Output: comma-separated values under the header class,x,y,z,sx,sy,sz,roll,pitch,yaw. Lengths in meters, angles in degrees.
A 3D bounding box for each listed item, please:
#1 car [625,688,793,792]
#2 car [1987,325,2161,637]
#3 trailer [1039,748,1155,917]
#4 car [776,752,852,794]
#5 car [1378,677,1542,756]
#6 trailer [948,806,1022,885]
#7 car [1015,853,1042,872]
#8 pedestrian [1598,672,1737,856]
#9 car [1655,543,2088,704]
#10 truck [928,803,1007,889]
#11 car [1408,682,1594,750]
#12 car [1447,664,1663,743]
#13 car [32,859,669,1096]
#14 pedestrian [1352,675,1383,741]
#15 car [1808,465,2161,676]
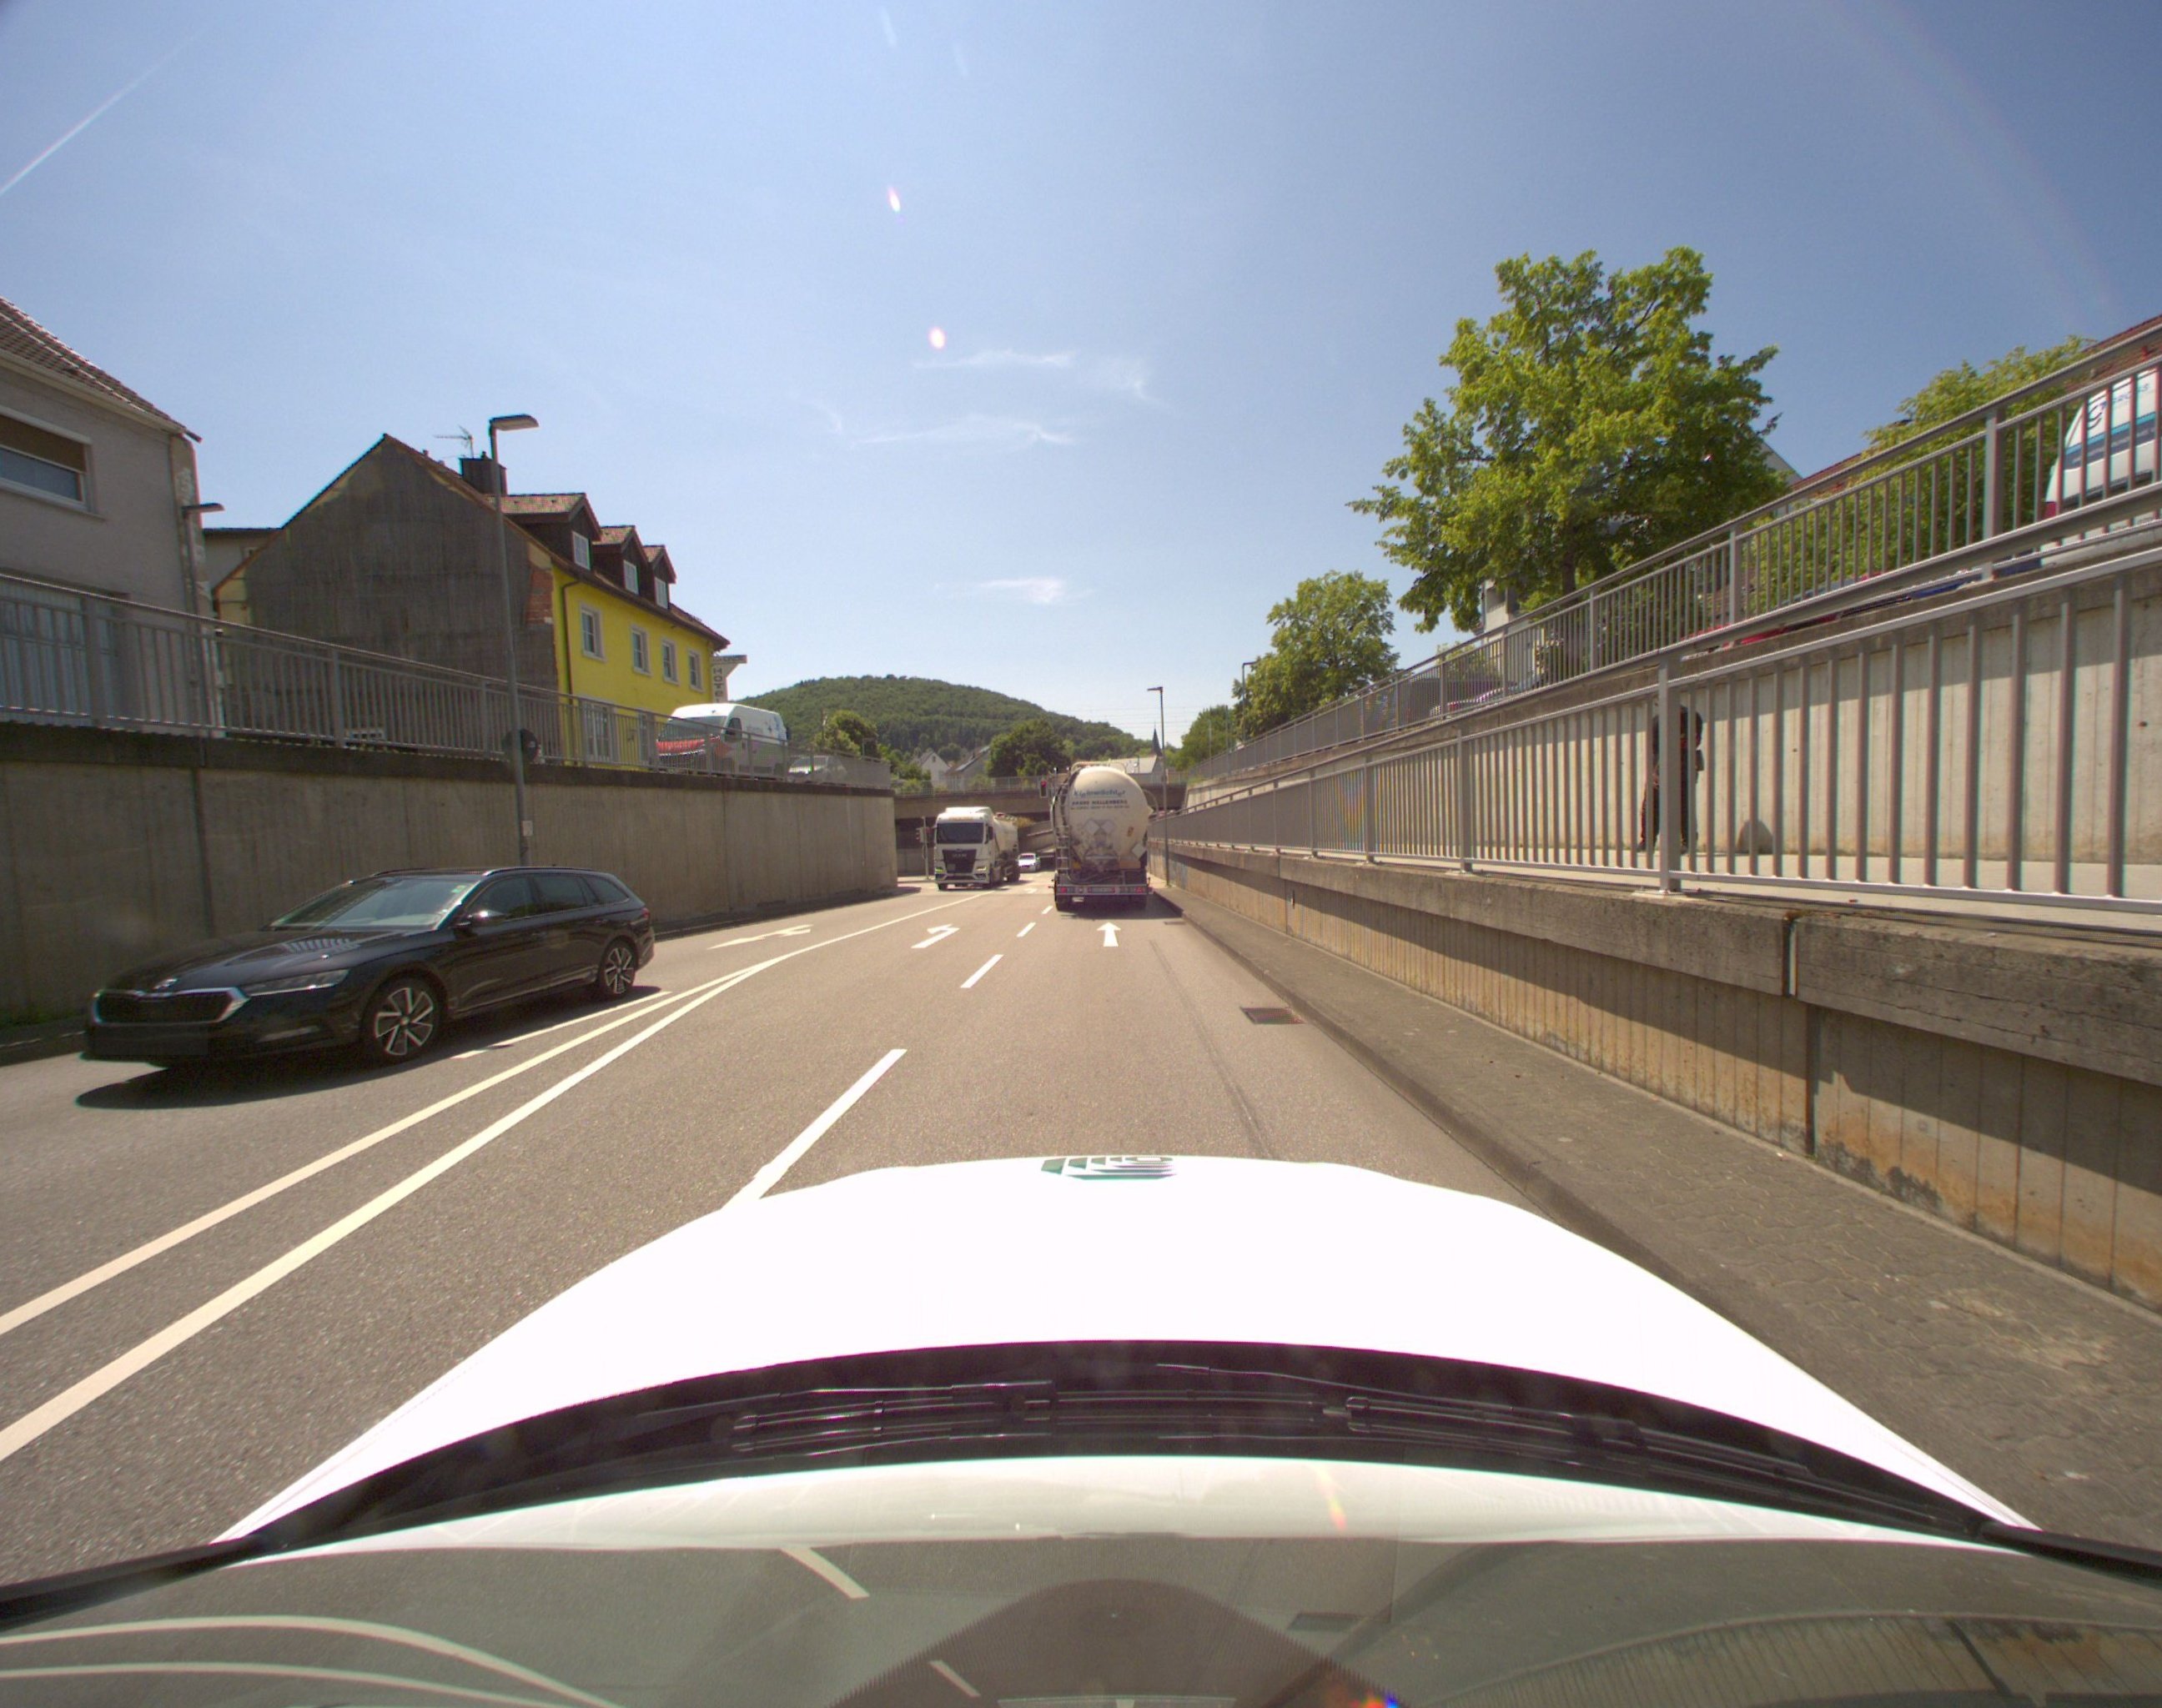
class,x,y,z,sx,sy,sz,roll,pitch,yaw
car,-10.698,-3.188,24.093,2.057,2.535,5.667,0,3,3
car,10.696,-3.044,6.284,5.092,2.063,1.990,-2,3,2
trailer,0.626,-0.502,26.419,2.724,4.064,13.318,-1,0,2
car,-10.666,-3.200,32.824,1.613,1.500,4.047,0,3,1
car,10.729,-3.868,23.237,3.890,1.884,1.688,-2,3,2
trailer,-5.212,-0.409,45.936,2.600,3.964,9.351,-1,0,2
car,-4.123,0.654,63.947,1.675,1.440,4.096,0,0,2
pedestrian,6.022,-0.888,8.406,0.833,1.782,0.789,-2,0,1
car,10.499,-3.036,11.072,4.188,1.595,1.687,-2,3,2
truck,-5.444,-0.366,40.240,2.651,3.860,6.583,-1,0,2
car,10.634,-3.480,20.804,3.890,1.367,1.688,-2,3,2
car,10.573,-3.347,18.364,3.890,1.367,1.688,-2,3,2
car,-5.882,0.824,7.491,1.753,1.489,4.372,-1,0,3
pedestrian,8.261,-4.210,23.532,0.670,1.779,0.595,-2,2,3
car,10.423,-2.887,8.469,4.188,1.595,1.687,-2,3,2
